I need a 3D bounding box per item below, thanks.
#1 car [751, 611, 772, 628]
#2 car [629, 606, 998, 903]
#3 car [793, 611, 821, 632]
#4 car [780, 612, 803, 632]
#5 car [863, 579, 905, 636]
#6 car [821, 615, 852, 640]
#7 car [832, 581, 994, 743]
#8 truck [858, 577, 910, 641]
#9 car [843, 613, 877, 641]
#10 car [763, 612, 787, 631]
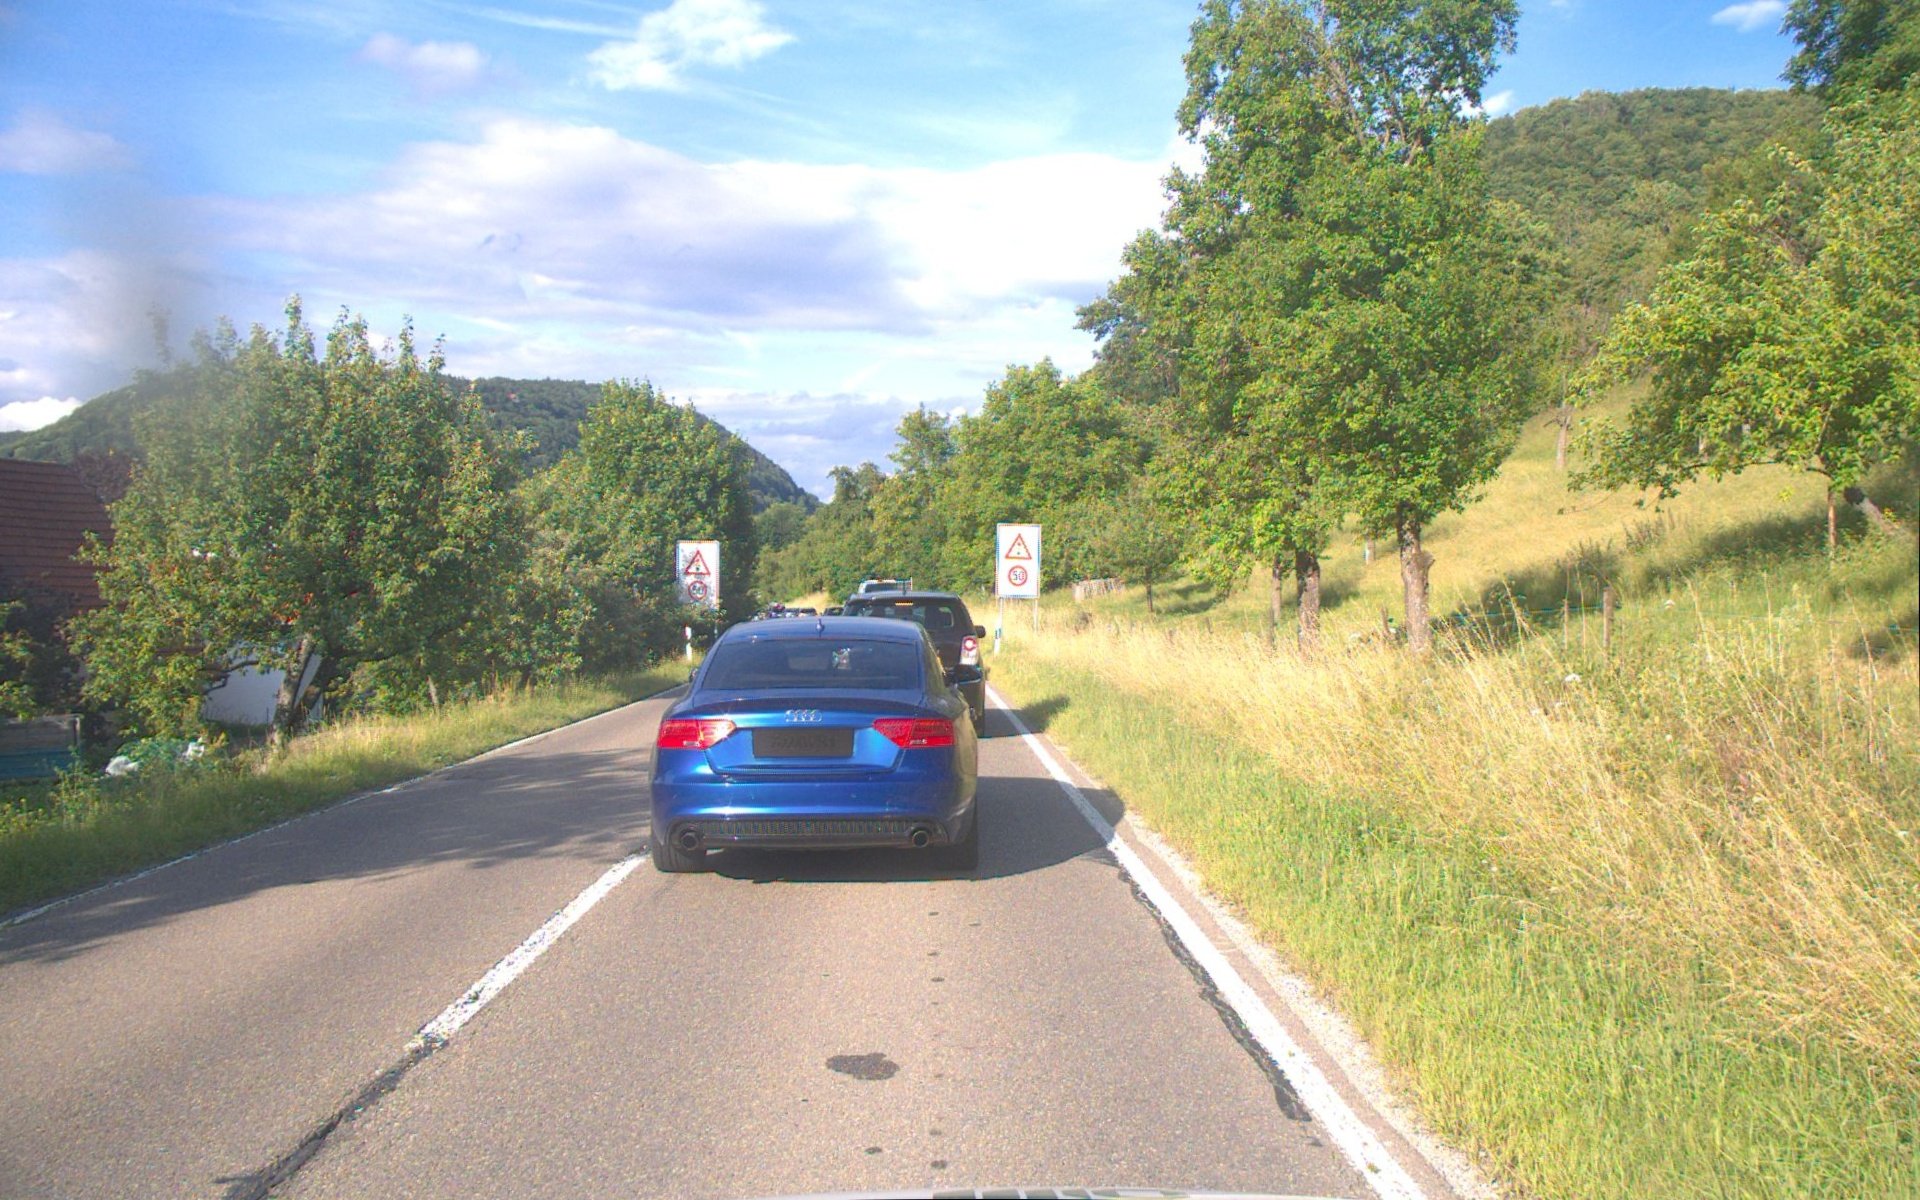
[{"bbox_3d":[-18.934,1.838,157.856,1.532,1.522,3.765,3,0,-14],"label":"car"},{"bbox_3d":[-0.751,0.753,10.129,1.769,1.406,4.213,-1,0,-1],"label":"car"},{"bbox_3d":[-12.369,1.717,133.581,1.717,1.522,3.767,3,0,-12],"label":"car"},{"bbox_3d":[-14.442,1.893,141.555,1.532,1.522,3.766,3,0,-13],"label":"car"},{"bbox_3d":[-3.534,0.322,76.397,1.757,2.496,3.916,3,0,-4],"label":"car"},{"bbox_3d":[-8.393,1.833,112.248,1.716,1.522,3.769,3,0,-10],"label":"car"},{"bbox_3d":[-0.542,0.634,19.135,1.658,1.652,3.788,1,0,-2],"label":"car"},{"bbox_3d":[-3.047,0.349,66.757,1.911,2.386,5.091,3,0,-2],"label":"truck"},{"bbox_3d":[-5.954,1.587,97.909,1.715,1.522,3.772,3,0,-7],"label":"car"},{"bbox_3d":[-16.751,1.937,149.687,1.533,1.522,3.763,3,0,-15],"label":"car"}]
